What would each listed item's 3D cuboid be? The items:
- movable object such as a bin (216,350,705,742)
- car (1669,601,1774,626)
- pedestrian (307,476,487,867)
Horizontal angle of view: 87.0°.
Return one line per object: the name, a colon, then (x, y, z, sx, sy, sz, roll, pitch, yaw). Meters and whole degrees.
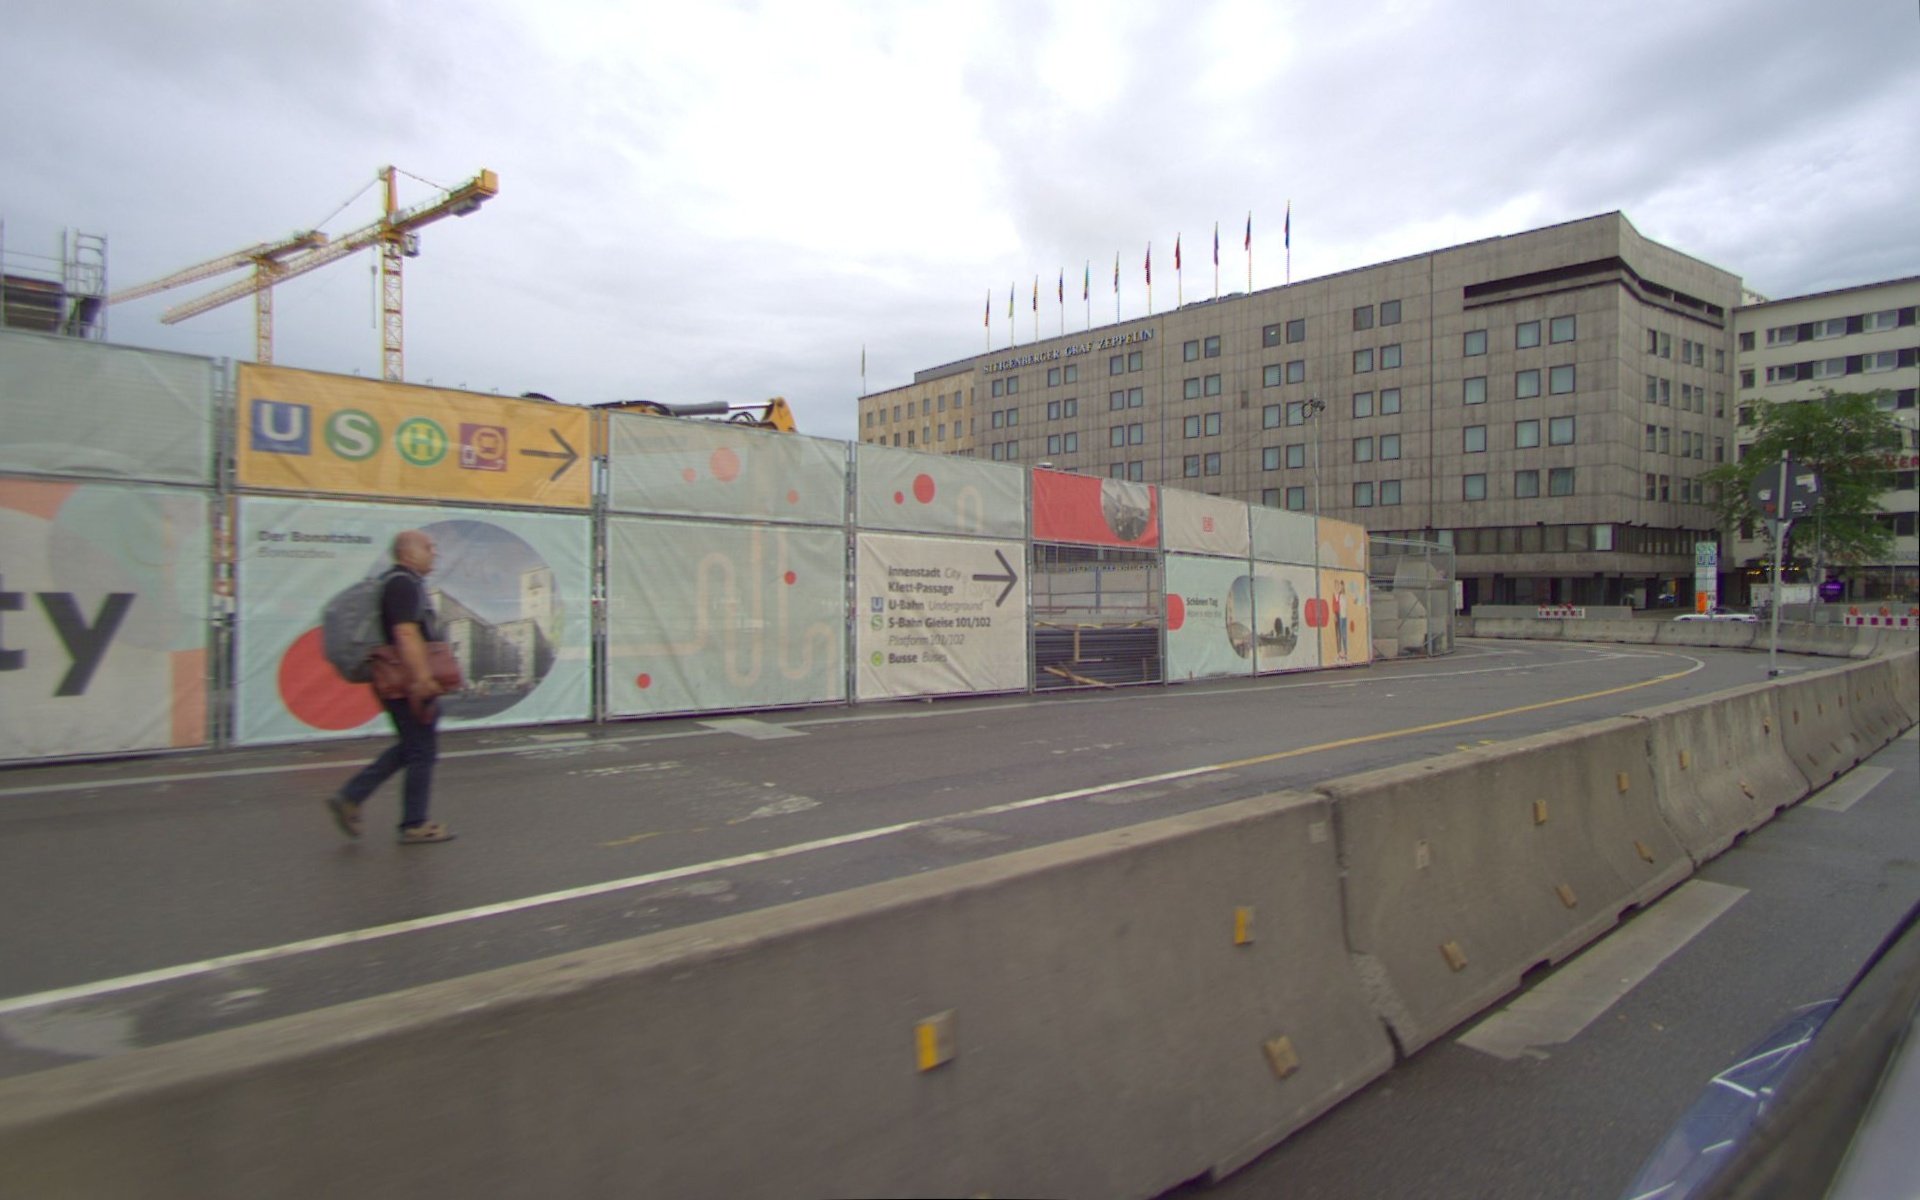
movable object such as a bin: (-5.948, -0.530, 12.052, 4.282, 3.536, 3.933, 0, 1, -43)
car: (42.395, 0.738, 56.378, 4.515, 1.326, 1.617, -1, 0, 44)
pedestrian: (-3.006, 0.335, 5.383, 0.674, 1.857, 0.927, 0, 0, -40)
